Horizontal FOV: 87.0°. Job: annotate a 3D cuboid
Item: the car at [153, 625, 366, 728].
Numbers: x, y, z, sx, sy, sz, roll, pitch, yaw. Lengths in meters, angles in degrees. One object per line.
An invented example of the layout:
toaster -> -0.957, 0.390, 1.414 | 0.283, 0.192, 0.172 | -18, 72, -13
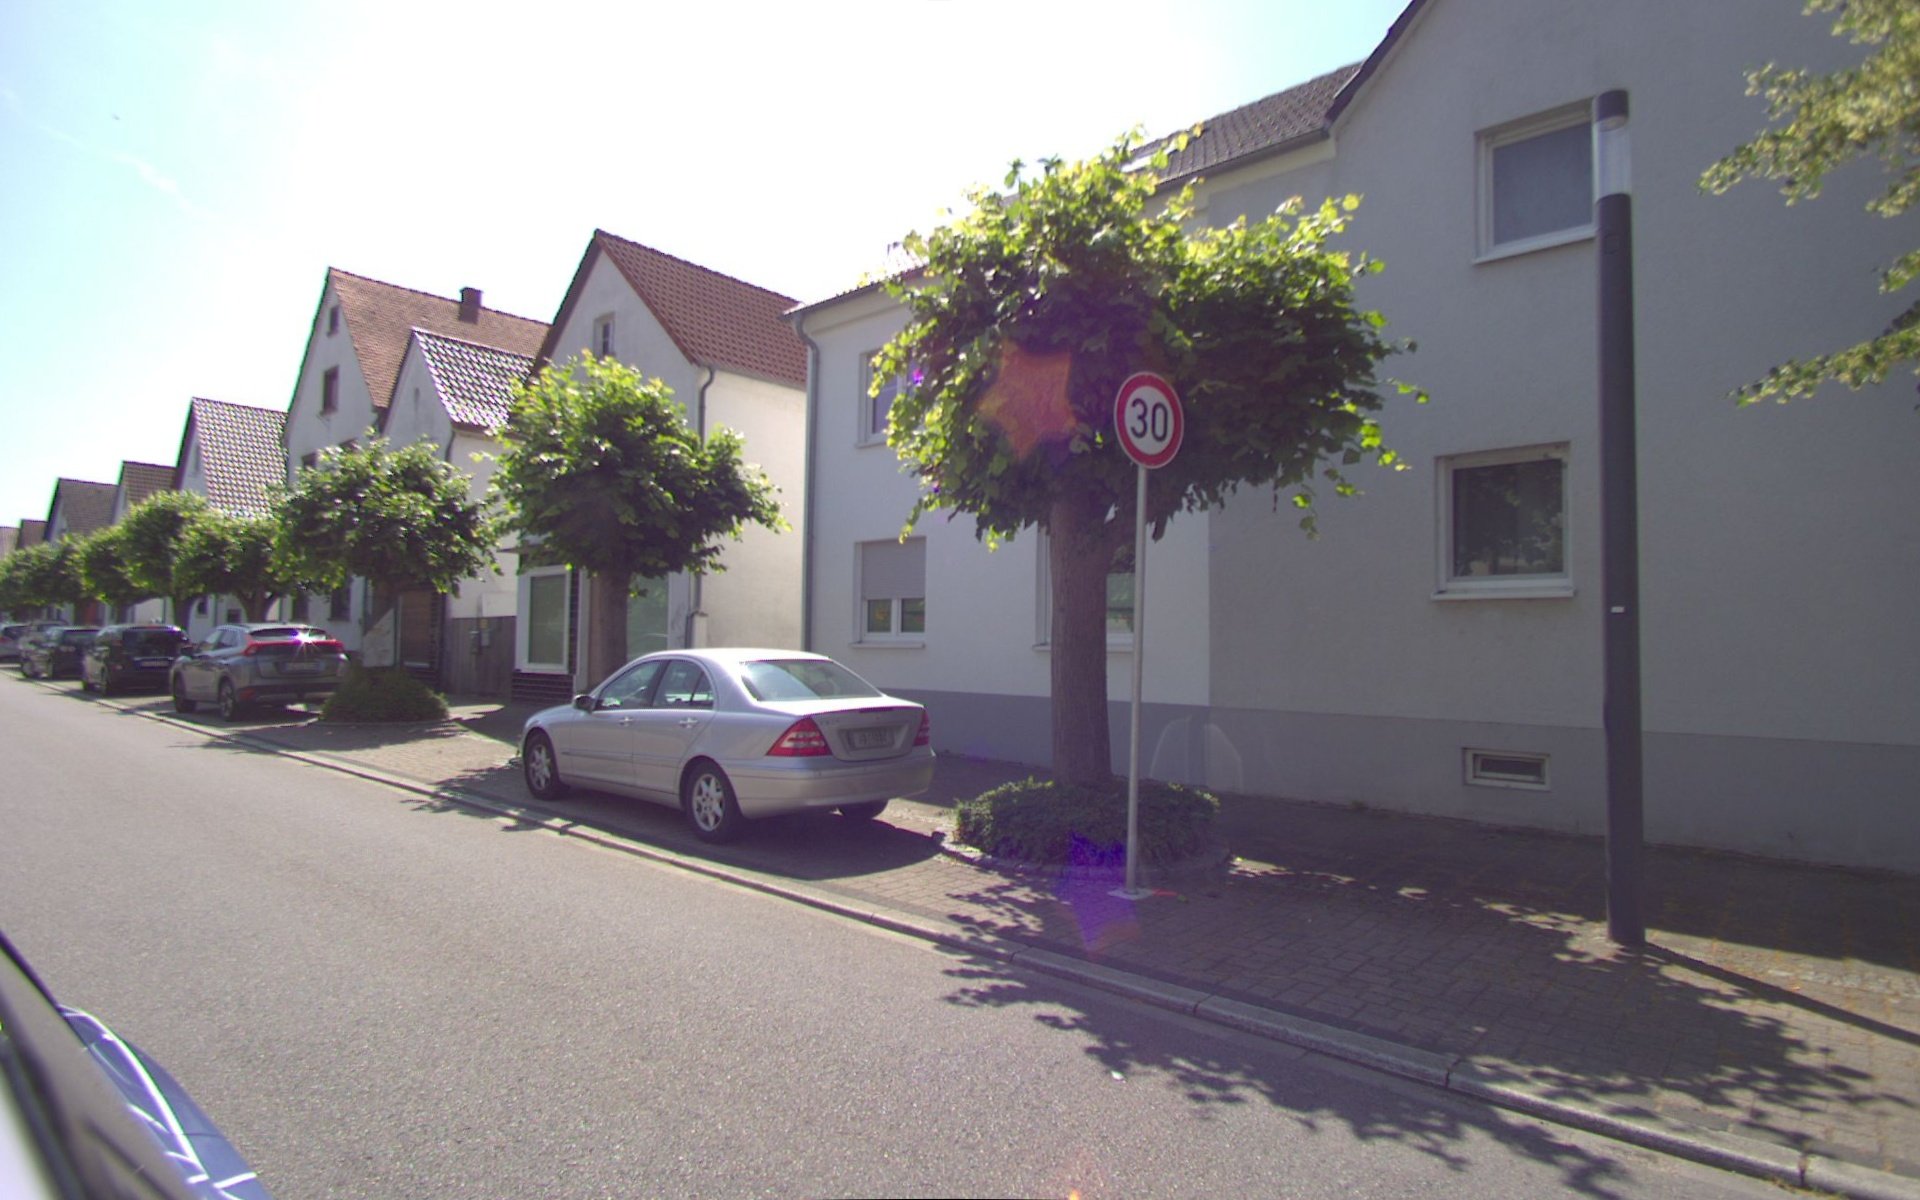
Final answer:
car -> -12.907, 1.327, 18.570 | 4.361, 1.665, 1.974 | -1, -4, 38

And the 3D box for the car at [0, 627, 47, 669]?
car -> -39.392, 1.962, 41.930 | 4.369, 1.625, 1.833 | -1, -2, 41

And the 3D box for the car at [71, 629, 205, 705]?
car -> -19.794, 1.523, 24.310 | 4.055, 1.647, 1.833 | -1, -2, 41

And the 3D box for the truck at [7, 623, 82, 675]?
truck -> -33.202, 1.741, 36.668 | 4.190, 1.779, 1.559 | -1, -2, 41

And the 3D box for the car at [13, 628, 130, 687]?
car -> -26.642, 1.679, 30.319 | 3.992, 1.646, 1.769 | -1, -3, 36

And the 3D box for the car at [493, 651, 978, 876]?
car -> -2.112, 1.171, 8.731 | 4.404, 1.406, 1.821 | -2, -3, 41

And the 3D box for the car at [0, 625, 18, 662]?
car -> -44.897, 2.033, 46.605 | 4.297, 1.649, 1.833 | -2, -2, 41
